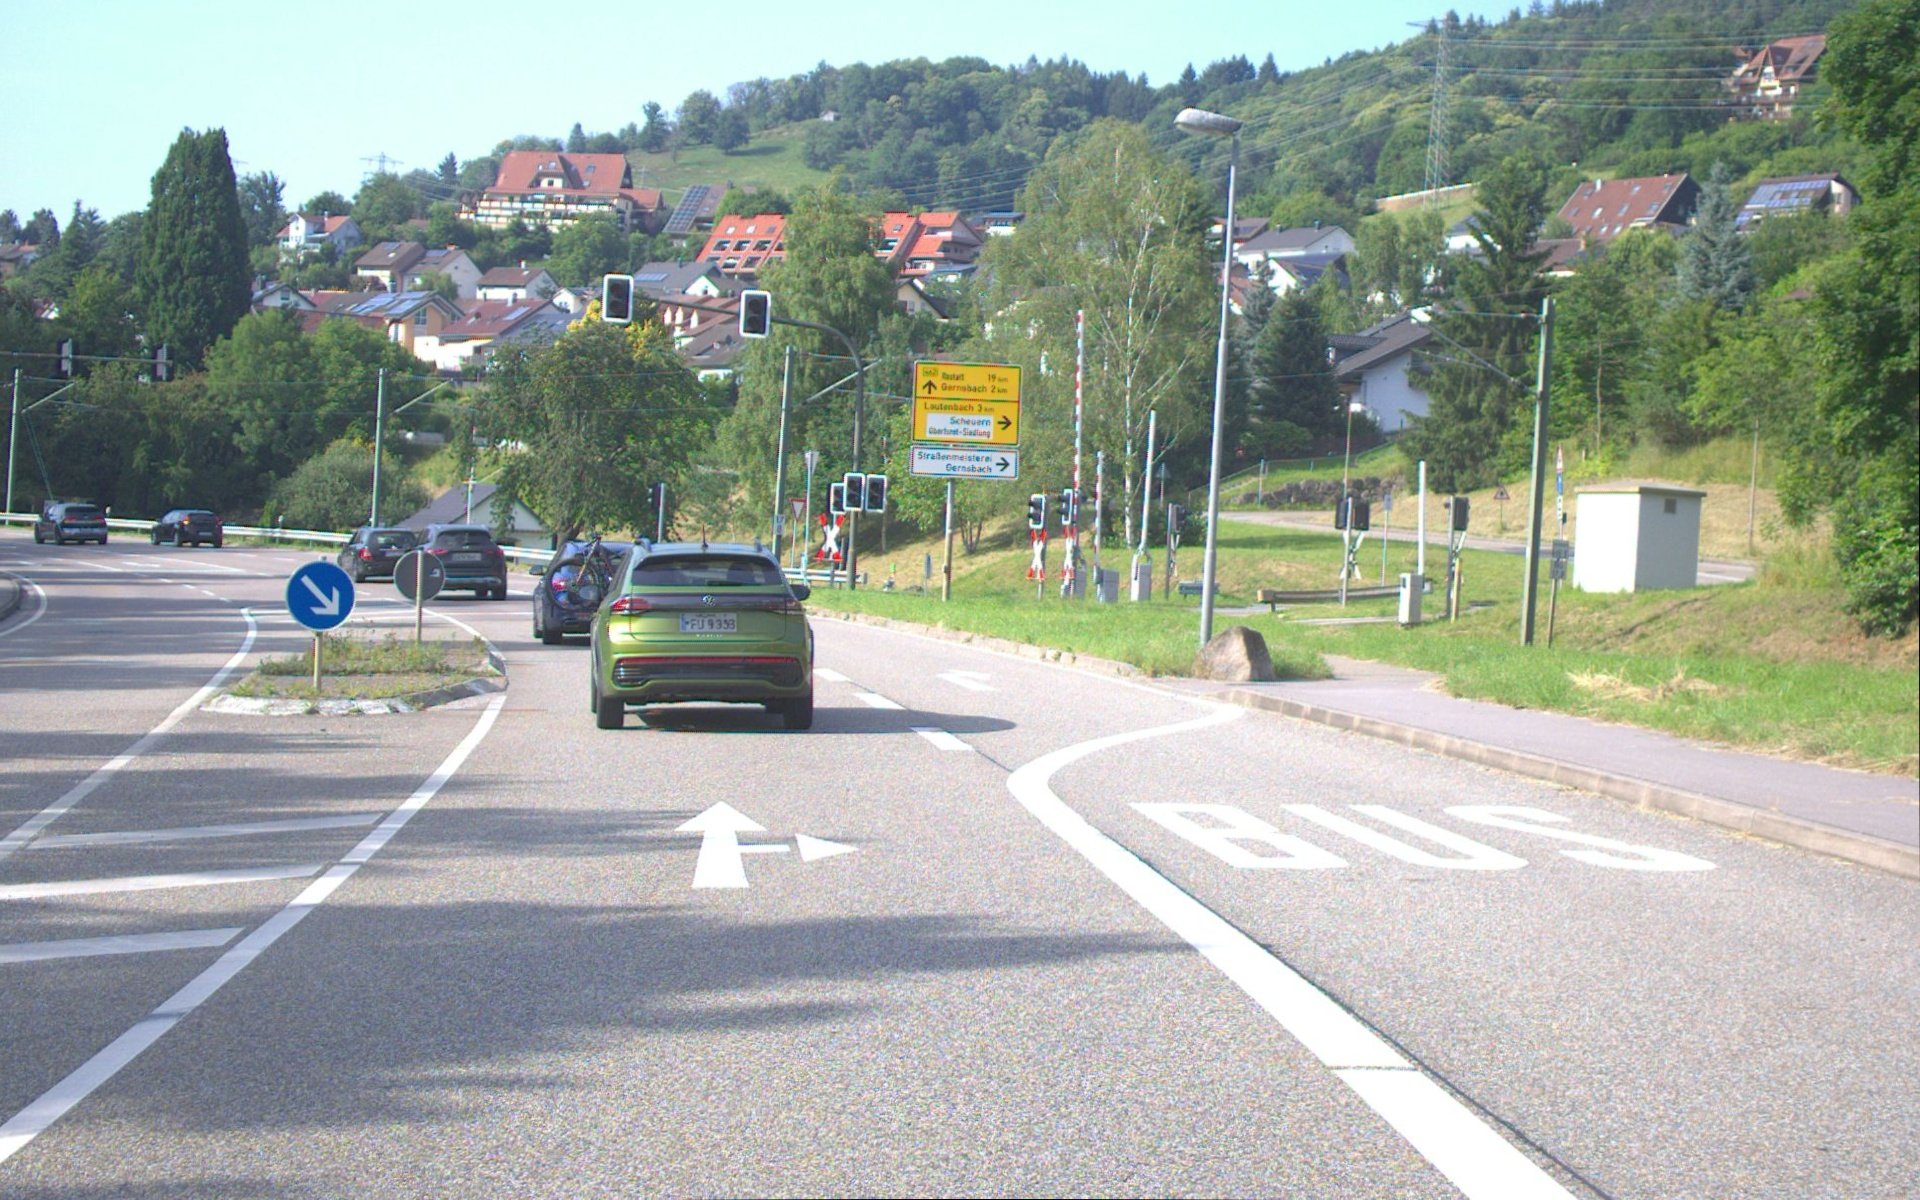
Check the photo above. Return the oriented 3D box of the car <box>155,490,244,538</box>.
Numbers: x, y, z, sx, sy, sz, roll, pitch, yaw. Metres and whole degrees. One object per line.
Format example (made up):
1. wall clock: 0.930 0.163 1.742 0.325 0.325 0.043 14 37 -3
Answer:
1. car: -29.066 -3.283 131.324 1.994 1.739 4.000 1 1 -34

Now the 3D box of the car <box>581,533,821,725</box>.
1. car: -2.211 0.190 28.503 1.714 1.450 4.001 0 1 -8

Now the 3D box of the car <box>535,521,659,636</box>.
1. car: -5.148 -0.331 48.509 1.667 1.554 4.001 0 1 -7

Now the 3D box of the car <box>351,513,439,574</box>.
1. car: -14.716 -1.486 89.424 1.848 1.521 3.664 0 2 -16

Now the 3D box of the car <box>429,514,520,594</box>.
1. car: -10.598 -1.016 74.833 1.879 1.681 4.001 0 1 -9

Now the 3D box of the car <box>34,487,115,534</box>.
1. car: -34.486 -3.491 133.781 2.063 1.805 4.001 0 2 -30
